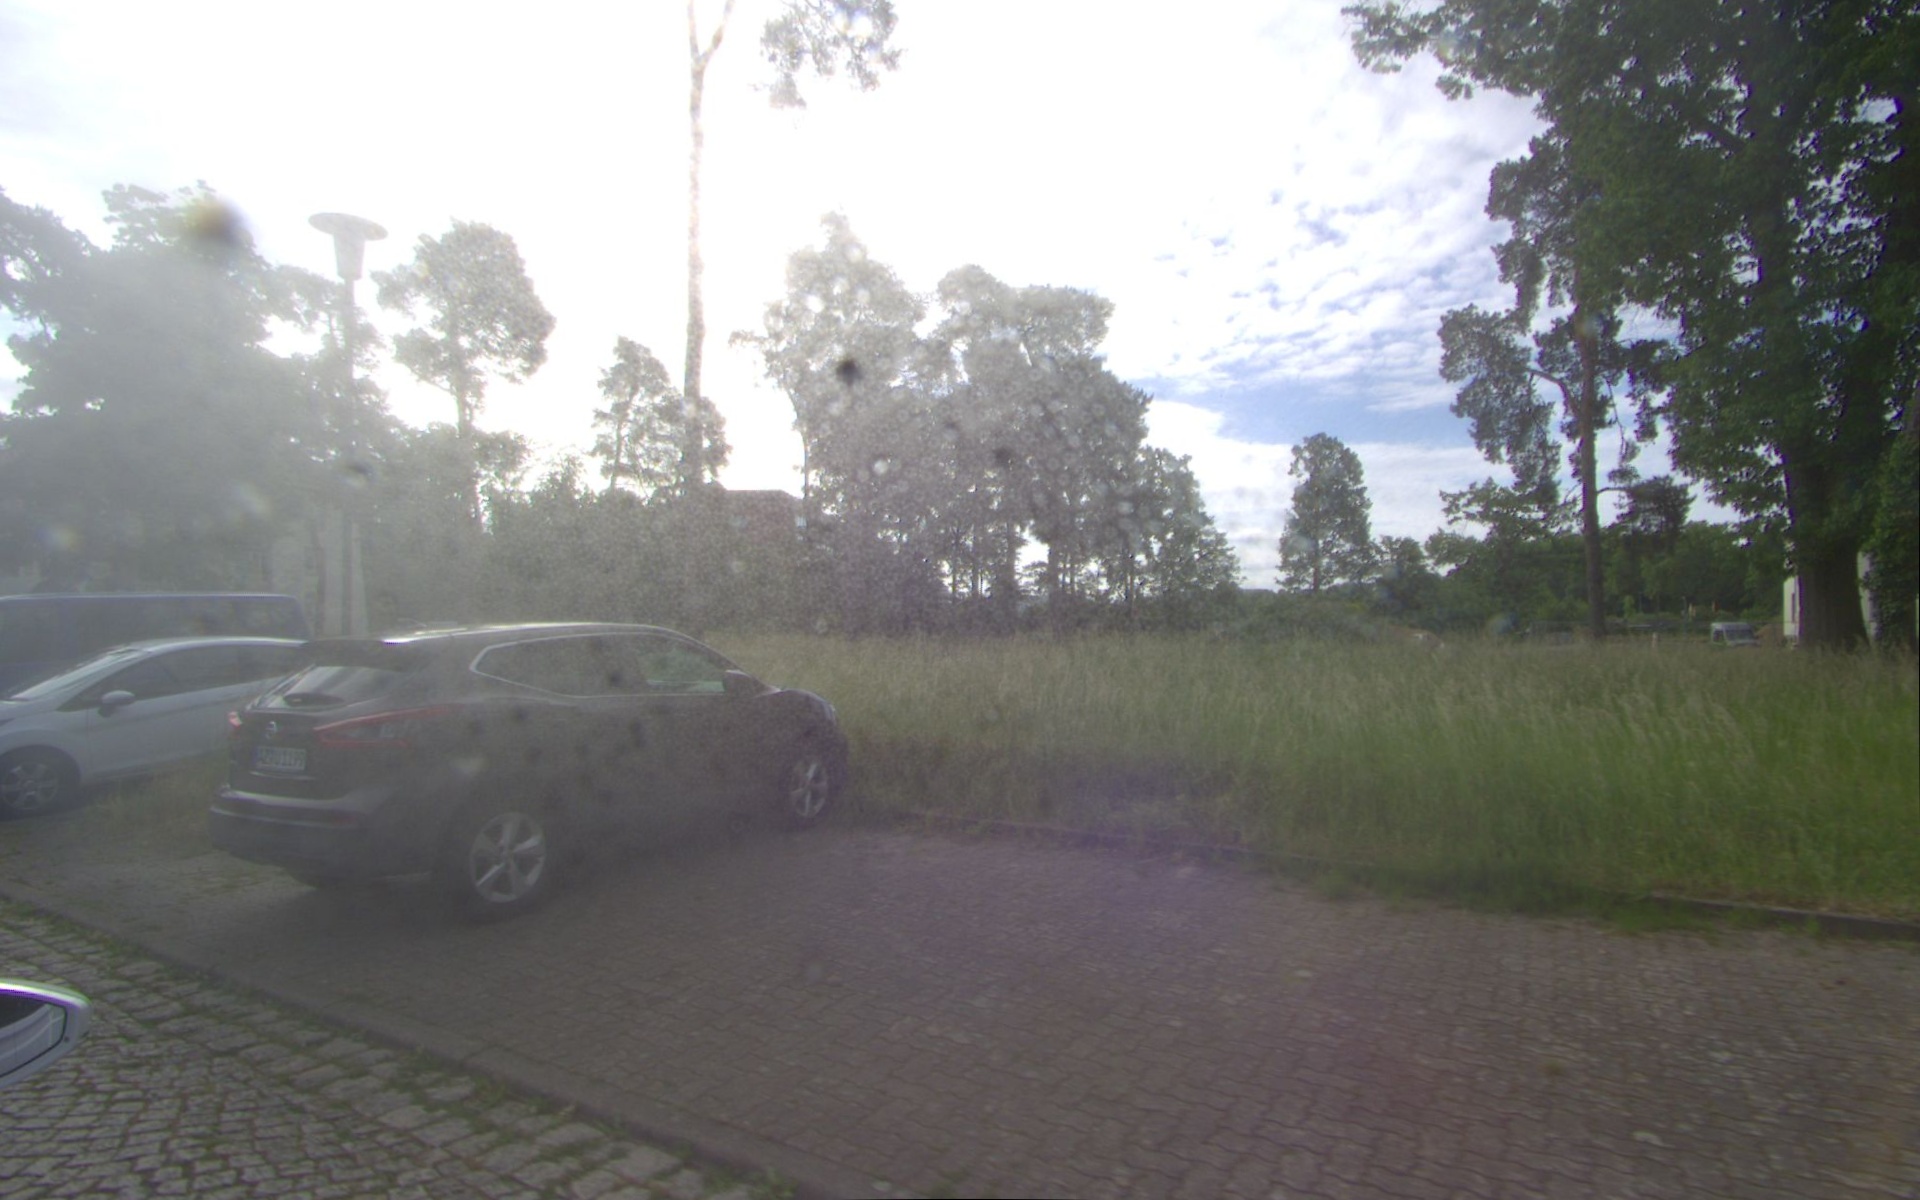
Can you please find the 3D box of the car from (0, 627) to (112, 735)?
[{"bbox_3d":[-14.549,1.152,14.093,1.739,1.498,3.648,0,-1,31],"label":"car"}]

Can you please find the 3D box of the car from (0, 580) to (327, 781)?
[{"bbox_3d":[-10.143,0.825,11.267,1.936,2.030,4.791,0,-1,29],"label":"car"}]

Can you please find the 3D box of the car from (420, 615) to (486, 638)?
[{"bbox_3d":[-48.290,2.586,95.415,2.075,2.044,5.295,-1,-3,31],"label":"car"}]

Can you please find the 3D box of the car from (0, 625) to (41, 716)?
[{"bbox_3d":[-17.116,1.145,15.374,1.740,1.466,4.124,0,-1,31],"label":"car"}]

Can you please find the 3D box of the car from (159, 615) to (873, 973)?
[{"bbox_3d":[-2.554,0.919,6.872,1.923,1.616,4.200,0,-1,29],"label":"car"}]

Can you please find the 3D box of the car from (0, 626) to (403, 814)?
[{"bbox_3d":[-8.012,1.039,9.945,1.695,1.498,4.095,0,-1,28],"label":"car"}]

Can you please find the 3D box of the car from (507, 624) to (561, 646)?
[{"bbox_3d":[-38.664,3.202,90.919,1.873,1.826,4.127,-1,-3,33],"label":"car"}]
